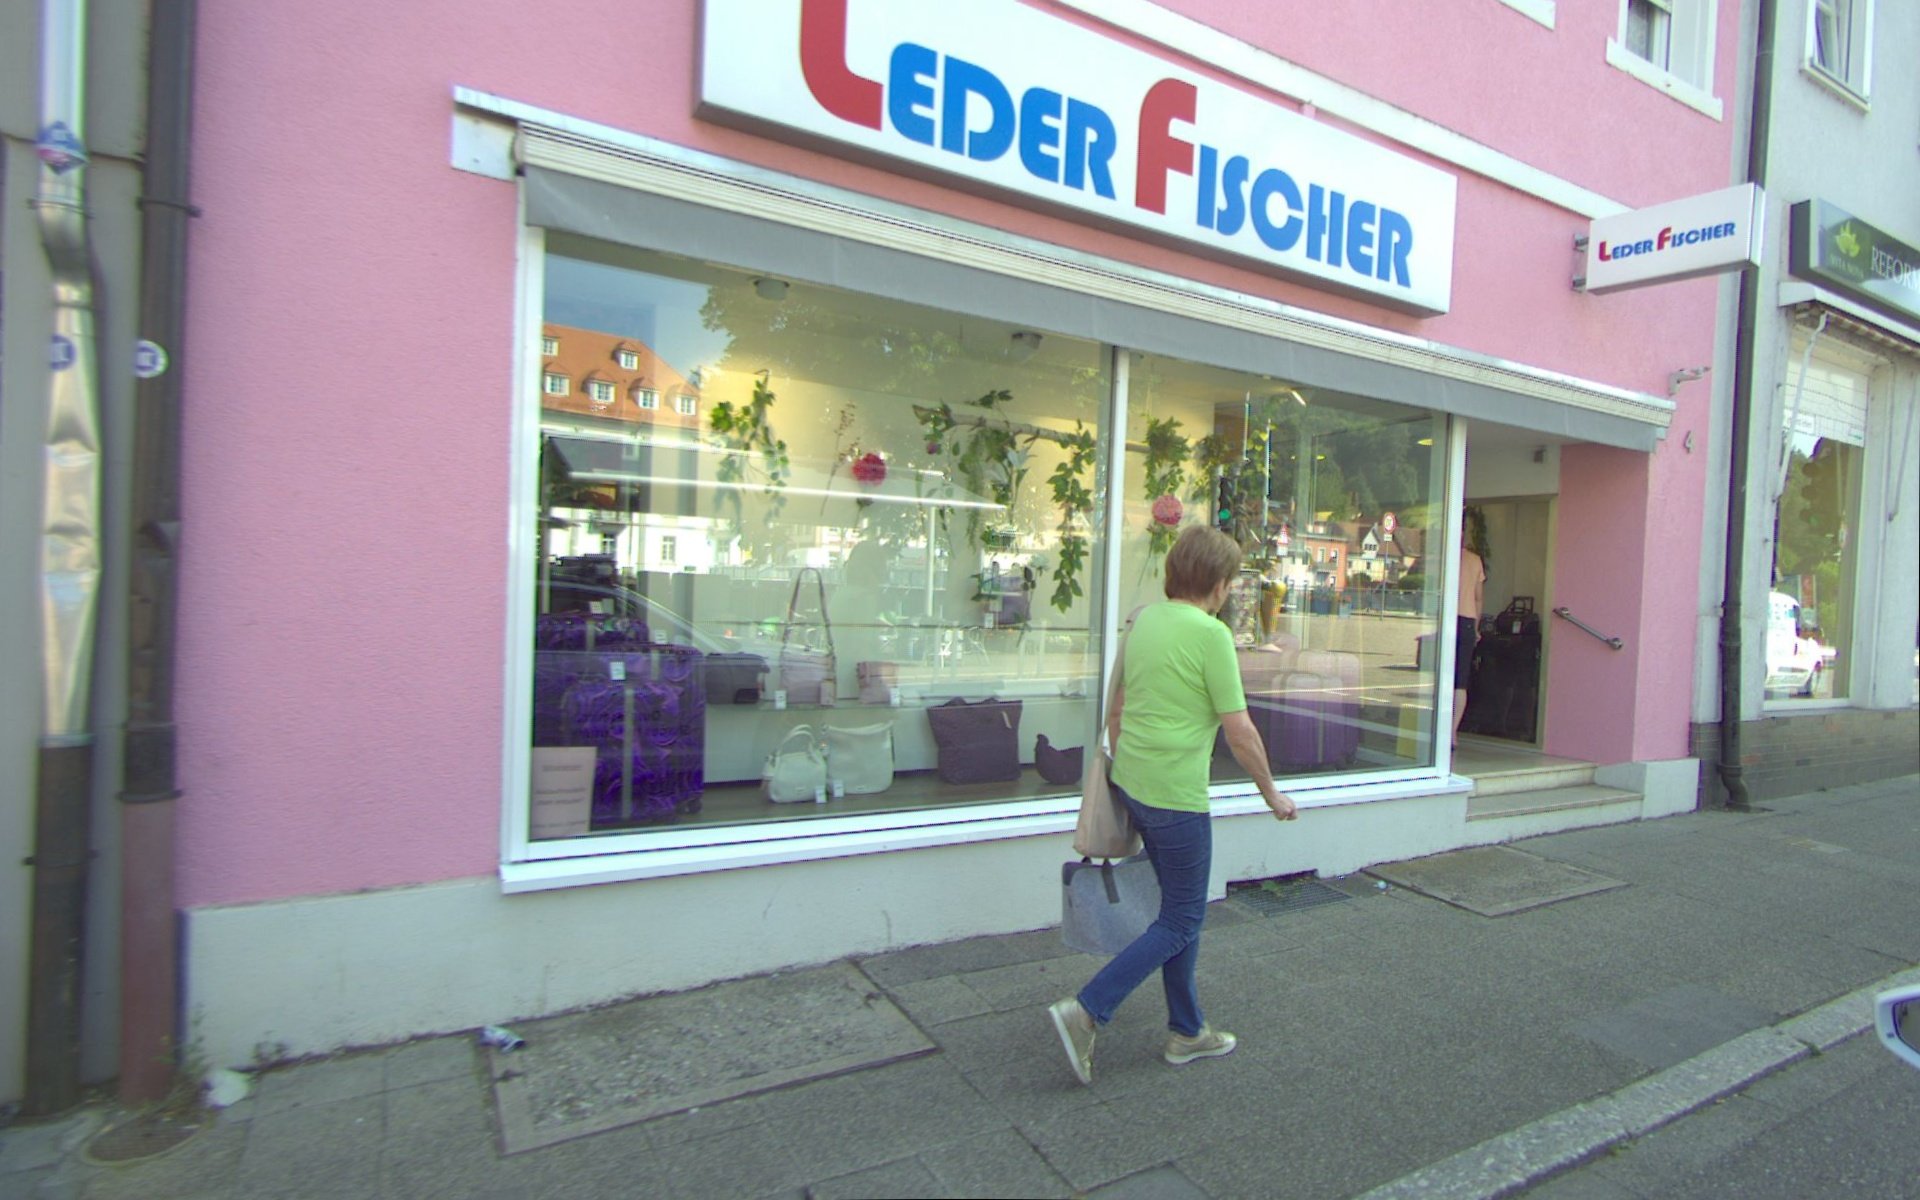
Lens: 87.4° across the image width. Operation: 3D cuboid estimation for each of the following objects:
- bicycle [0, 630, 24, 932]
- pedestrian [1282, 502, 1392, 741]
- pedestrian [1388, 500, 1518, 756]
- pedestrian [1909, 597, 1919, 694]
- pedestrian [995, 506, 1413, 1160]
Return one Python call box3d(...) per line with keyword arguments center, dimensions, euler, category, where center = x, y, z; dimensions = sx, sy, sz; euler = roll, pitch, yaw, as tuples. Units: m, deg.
box3d(center=(-4.406, 0.678, 3.341), dimensions=(1.803, 1.137, 0.517), euler=(1, 1, -31), category="bicycle")
box3d(center=(2.899, 0.154, 7.732), dimensions=(0.566, 1.745, 0.568), euler=(1, 1, -44), category="pedestrian")
box3d(center=(3.535, 0.184, 7.262), dimensions=(0.701, 1.745, 0.674), euler=(2, 1, 18), category="pedestrian")
box3d(center=(17.172, 0.831, 17.451), dimensions=(0.870, 1.680, 0.569), euler=(4, 0, -20), category="pedestrian")
box3d(center=(0.699, 0.578, 3.048), dimensions=(0.848, 1.654, 0.783), euler=(1, 3, -27), category="pedestrian")
